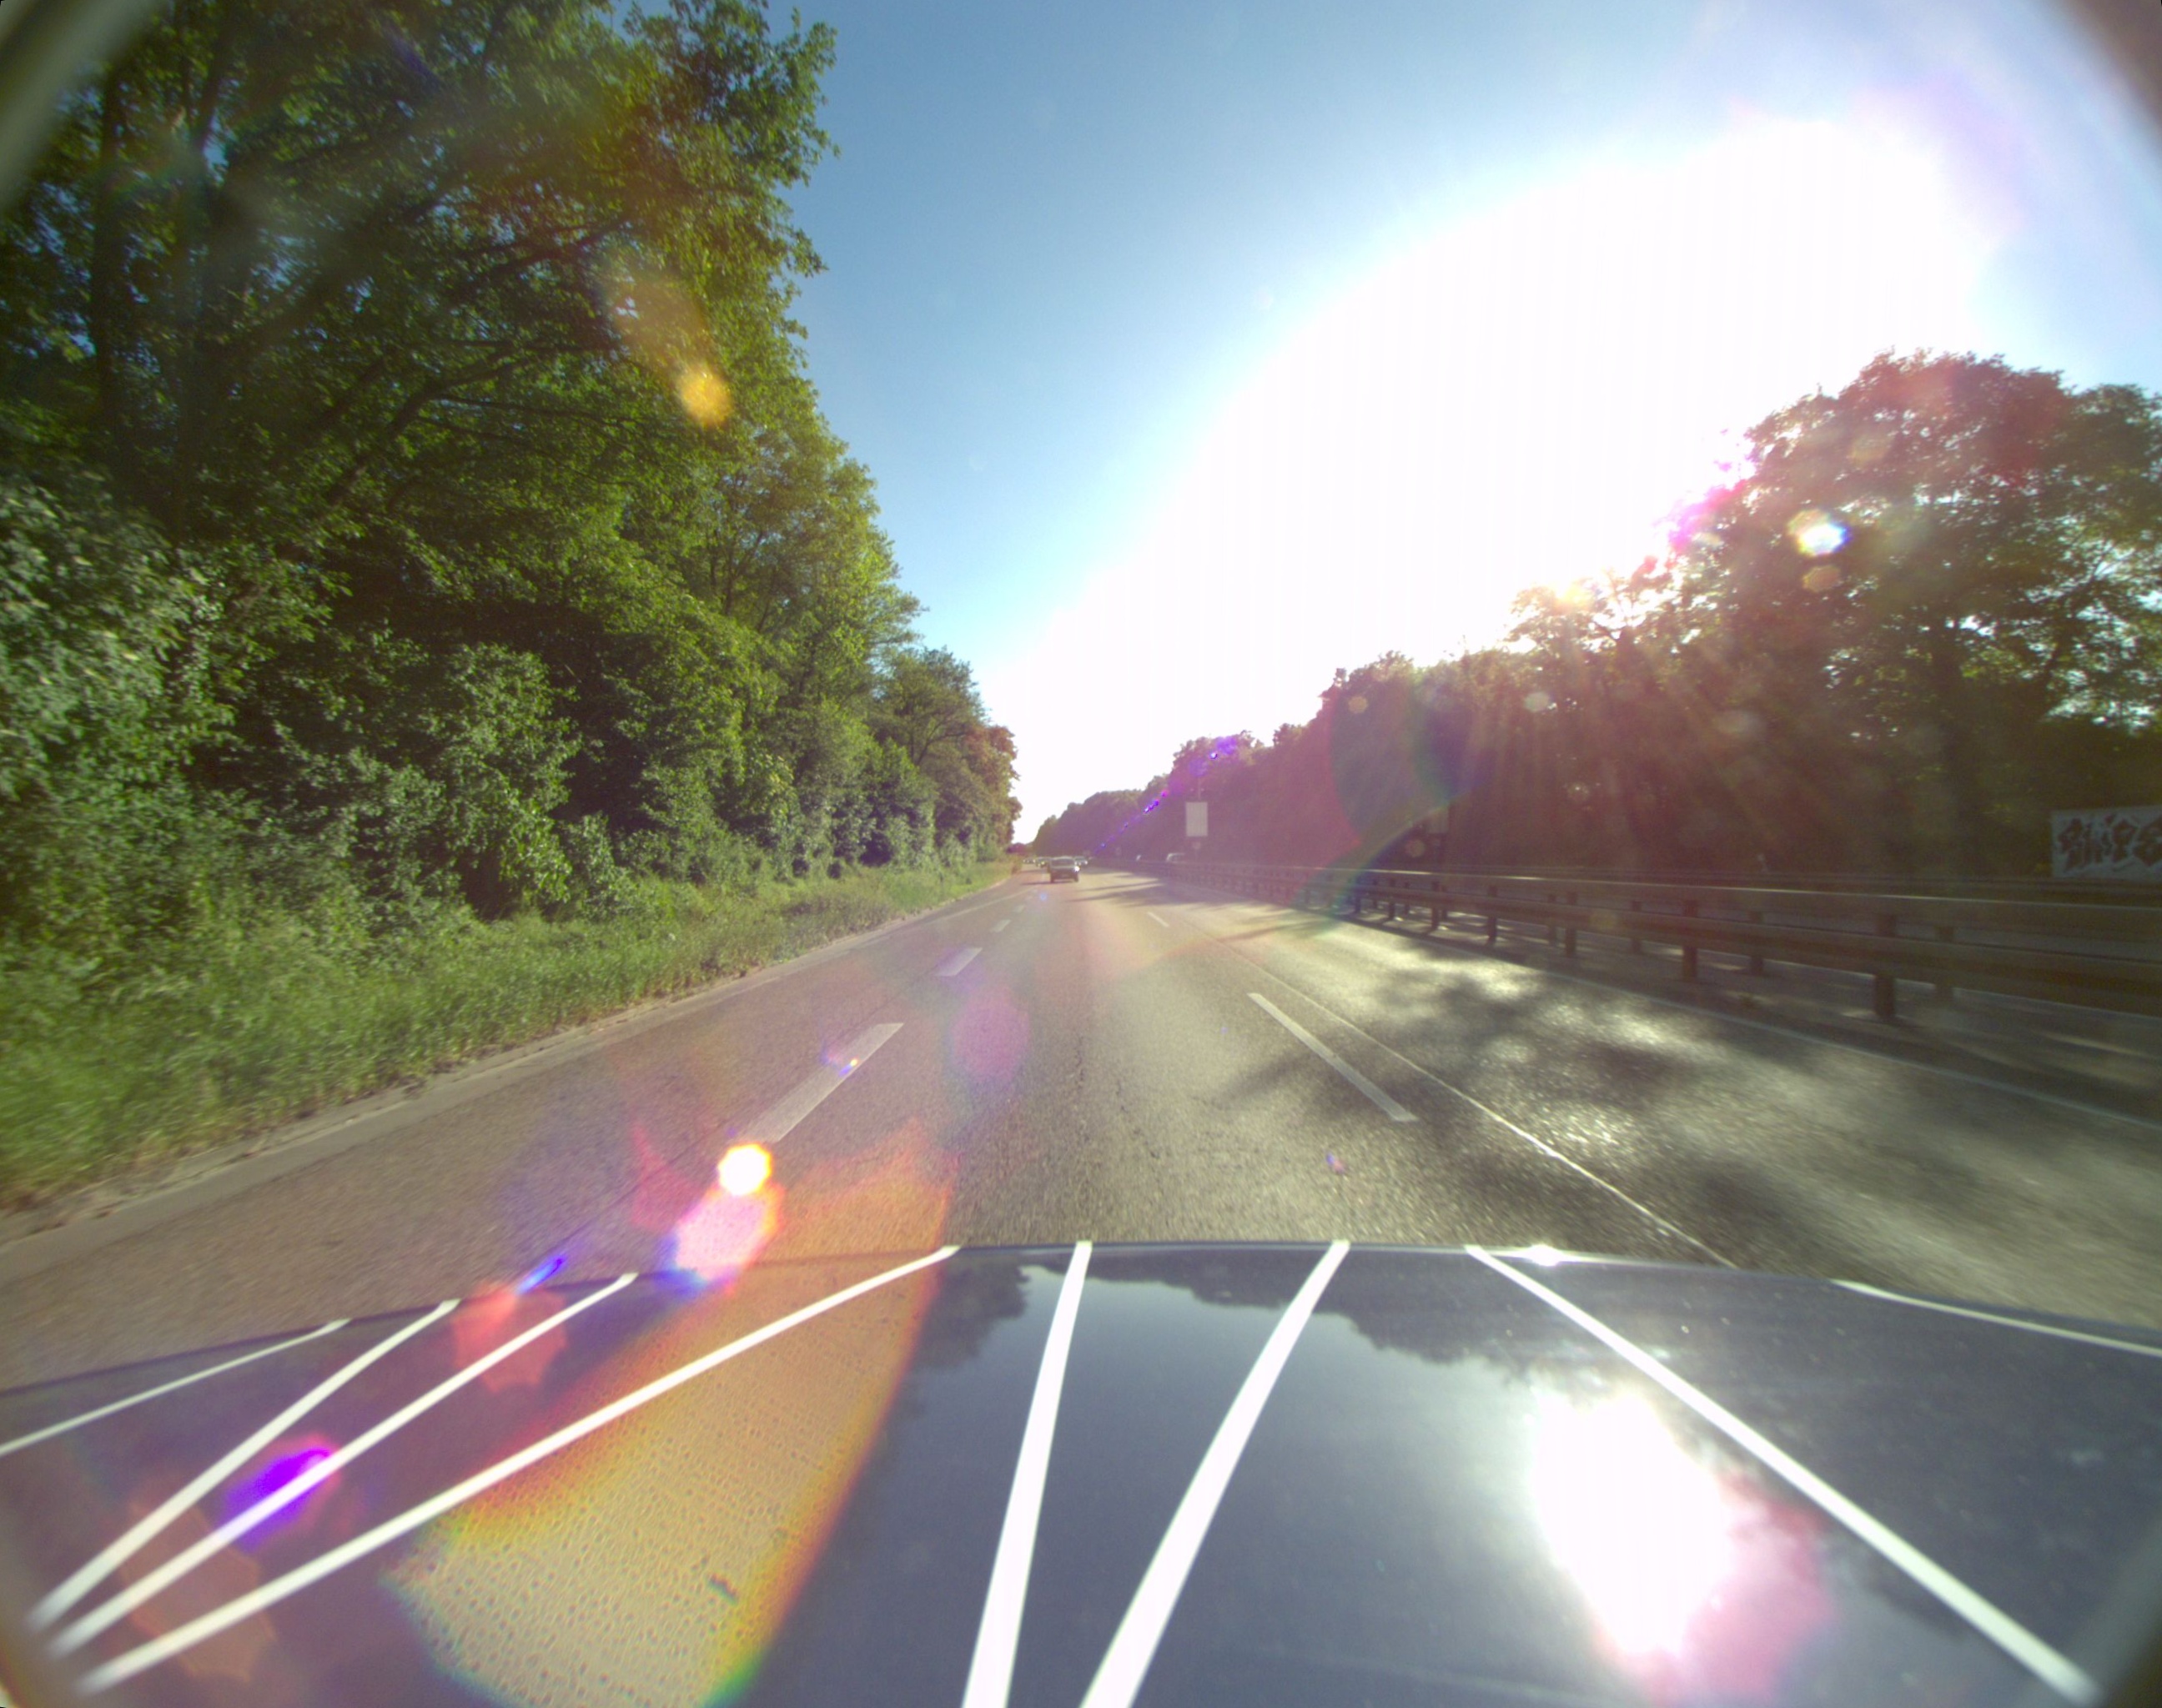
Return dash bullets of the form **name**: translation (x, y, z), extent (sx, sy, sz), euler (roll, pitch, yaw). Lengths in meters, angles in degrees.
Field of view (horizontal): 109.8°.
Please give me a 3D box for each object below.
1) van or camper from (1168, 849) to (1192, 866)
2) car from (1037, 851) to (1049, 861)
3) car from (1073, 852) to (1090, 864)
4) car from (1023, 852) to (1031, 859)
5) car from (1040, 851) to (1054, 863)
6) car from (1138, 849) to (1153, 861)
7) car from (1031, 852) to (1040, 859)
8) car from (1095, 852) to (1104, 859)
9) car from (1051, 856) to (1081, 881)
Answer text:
- **van or camper**: translation (10.439, 0.374, 80.655), extent (1.876, 1.756, 4.285), euler (-1, 0, -1)
- **car**: translation (-6.729, 0.413, 135.347), extent (1.999, 1.761, 3.998), euler (-1, 0, -4)
- **car**: translation (0.011, 0.464, 99.489), extent (1.905, 1.453, 4.353), euler (-1, 1, -5)
- **car**: translation (-15.442, 0.395, 217.122), extent (1.999, 1.761, 3.998), euler (-1, 0, -4)
- **car**: translation (-5.063, 0.470, 113.452), extent (1.999, 1.761, 3.998), euler (-1, 0, -4)
- **car**: translation (10.585, 0.122, 124.927), extent (1.999, 1.868, 4.424), euler (-1, 0, -3)
- **car**: translation (-10.729, 0.383, 180.068), extent (1.999, 1.761, 3.998), euler (-1, 0, -4)
- **car**: translation (3.839, 0.243, 159.625), extent (1.513, 1.326, 3.386), euler (2, 0, -3)
- **car**: translation (-0.956, 0.878, 48.567), extent (1.801, 1.453, 4.355), euler (-1, 0, -2)
